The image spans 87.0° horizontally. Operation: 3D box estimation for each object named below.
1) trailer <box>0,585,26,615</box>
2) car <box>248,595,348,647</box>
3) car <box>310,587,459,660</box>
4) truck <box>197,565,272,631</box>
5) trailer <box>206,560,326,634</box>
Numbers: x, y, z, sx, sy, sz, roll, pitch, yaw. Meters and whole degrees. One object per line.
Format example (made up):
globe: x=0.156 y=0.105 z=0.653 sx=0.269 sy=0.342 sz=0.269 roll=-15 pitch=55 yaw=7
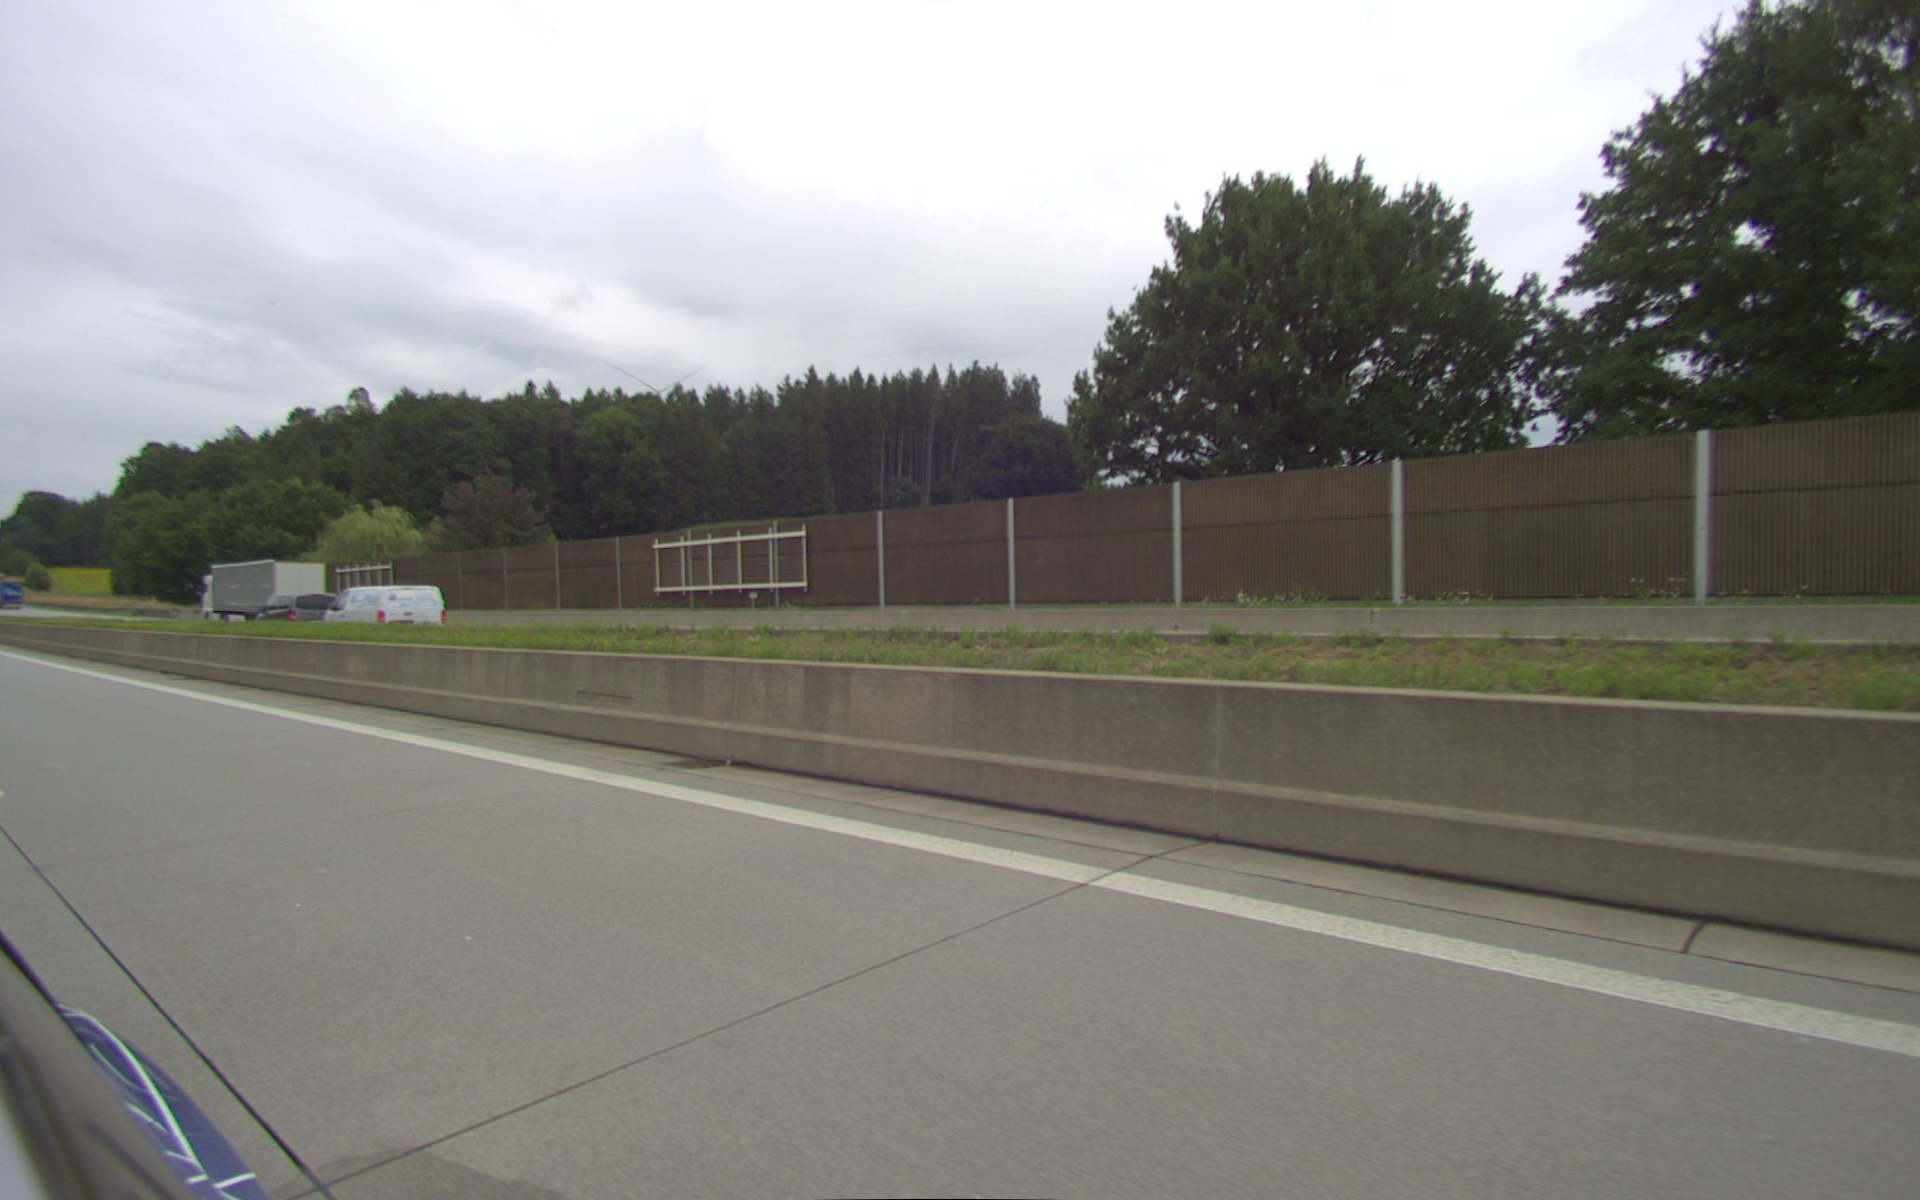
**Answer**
trailer: x=-145.895 y=-0.116 z=155.155 sx=13.789 sy=4.239 sz=2.682 roll=2 pitch=2 yaw=42
car: x=-26.485 y=0.834 z=40.419 sx=5.342 sy=1.934 sz=1.973 roll=-1 pitch=0 yaw=41
car: x=-16.647 y=0.637 z=29.143 sx=5.509 sy=1.900 sz=1.973 roll=-1 pitch=0 yaw=41
truck: x=-47.877 y=-0.138 z=66.763 sx=6.214 sy=4.114 sz=2.655 roll=0 pitch=1 yaw=41
trailer: x=-43.074 y=-0.148 z=62.530 sx=13.998 sy=4.126 sz=2.669 roll=0 pitch=1 yaw=41
